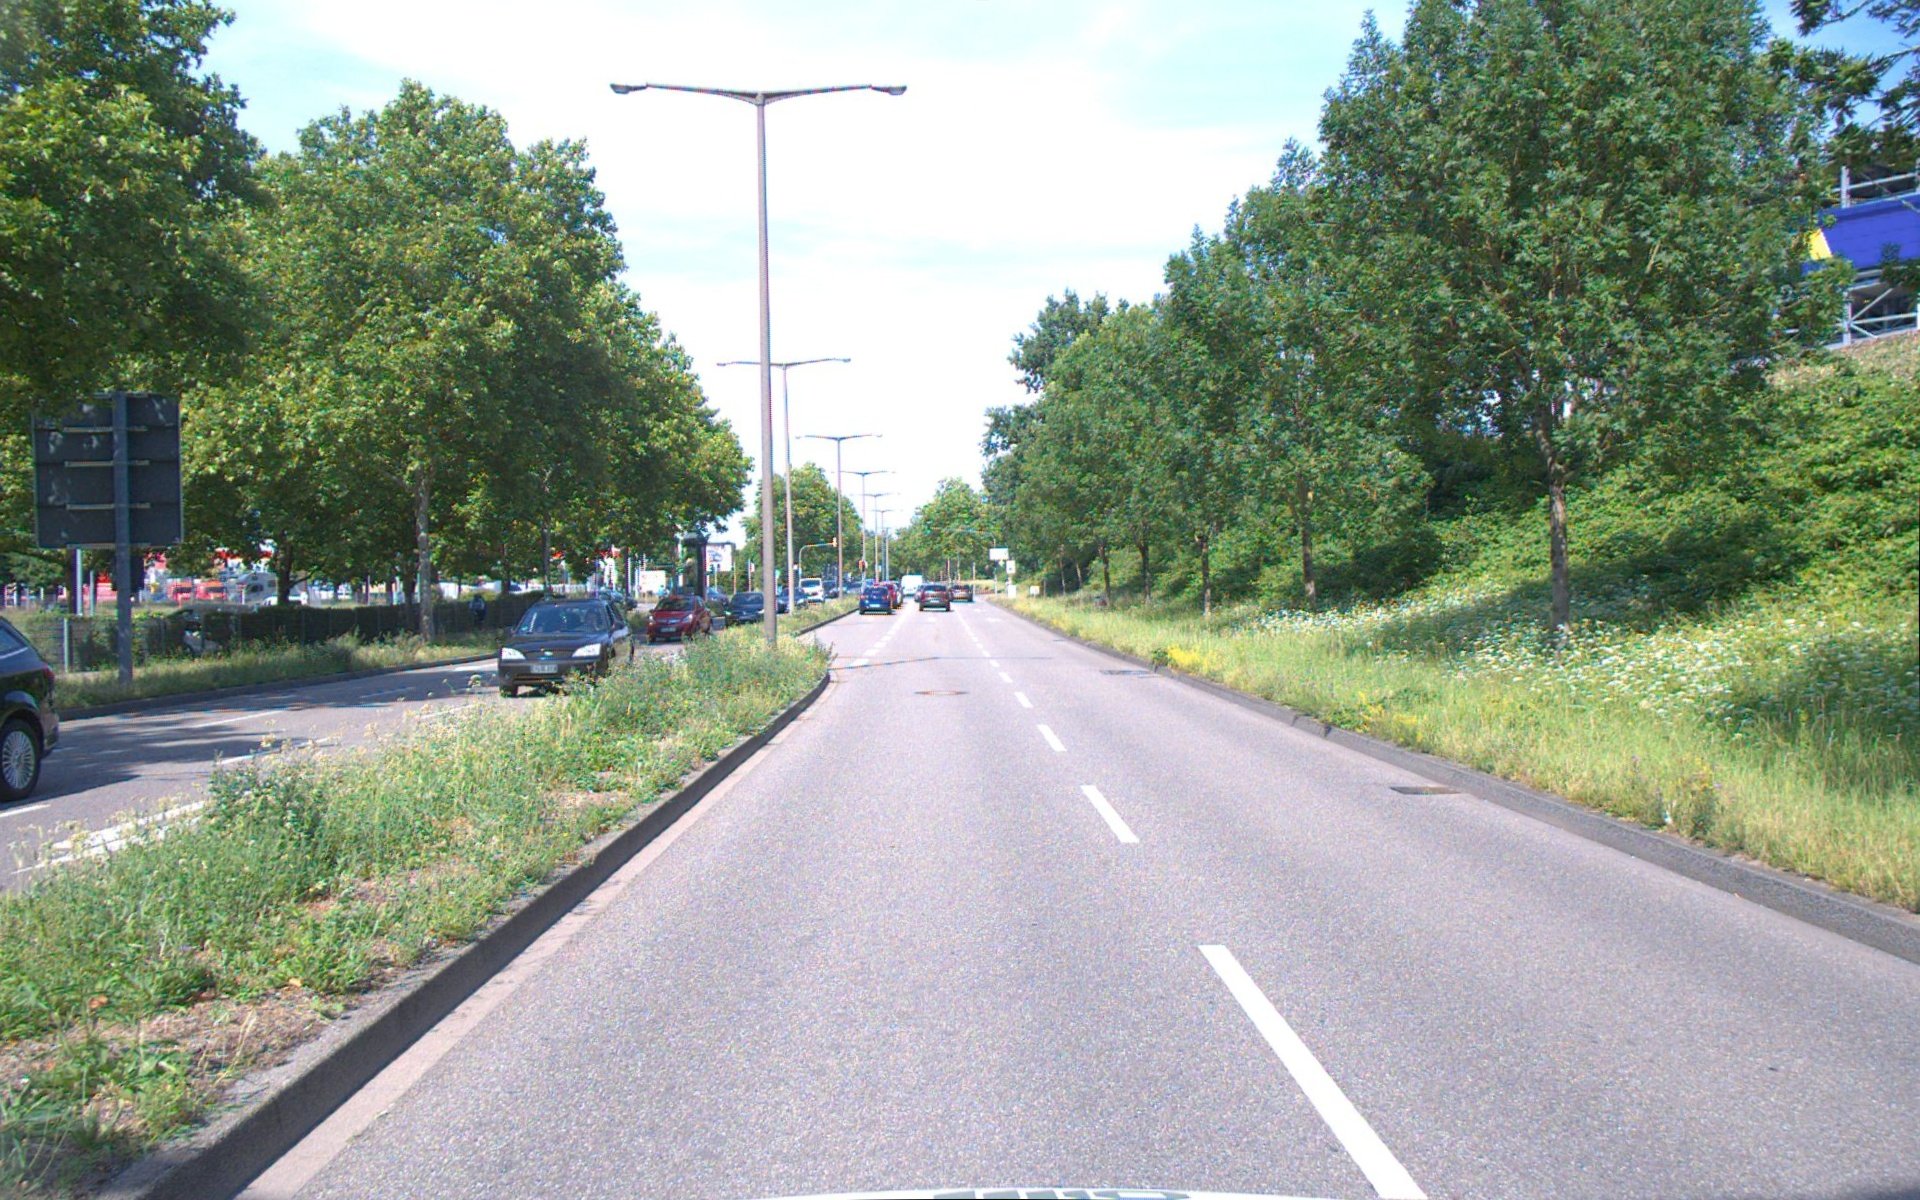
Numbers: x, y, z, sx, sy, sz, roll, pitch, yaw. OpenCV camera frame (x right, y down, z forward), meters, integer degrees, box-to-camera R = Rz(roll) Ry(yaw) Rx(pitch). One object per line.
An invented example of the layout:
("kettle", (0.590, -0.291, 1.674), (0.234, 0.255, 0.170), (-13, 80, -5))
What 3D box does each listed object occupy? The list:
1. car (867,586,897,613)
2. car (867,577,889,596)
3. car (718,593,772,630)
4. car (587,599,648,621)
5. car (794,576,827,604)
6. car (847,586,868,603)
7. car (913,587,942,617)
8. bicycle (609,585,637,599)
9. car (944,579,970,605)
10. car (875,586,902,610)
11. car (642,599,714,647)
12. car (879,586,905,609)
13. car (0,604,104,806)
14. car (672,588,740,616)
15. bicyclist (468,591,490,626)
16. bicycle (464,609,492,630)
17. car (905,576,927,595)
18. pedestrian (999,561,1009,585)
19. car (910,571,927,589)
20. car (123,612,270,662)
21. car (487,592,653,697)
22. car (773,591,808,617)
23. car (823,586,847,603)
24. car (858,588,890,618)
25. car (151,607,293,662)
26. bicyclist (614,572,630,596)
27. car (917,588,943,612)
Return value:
("car", (-4.848, -0.024, 102.980), (1.746, 1.620, 4.592), (0, 1, -2))
("car", (-8.448, -1.374, 170.669), (1.953, 1.892, 4.000), (-1, 0, 0))
("car", (-9.140, 0.474, 70.506), (1.802, 1.504, 4.165), (-1, 0, -1))
("car", (-23.939, 0.712, 115.594), (3.908, 1.412, 1.764), (-1, 2, 26))
("car", (-11.074, -0.754, 123.038), (2.074, 1.916, 5.417), (-2, 0, -2))
("car", (-10.974, -0.595, 177.351), (1.952, 1.806, 4.001), (-1, 0, 1))
("car", (-1.910, 0.095, 97.643), (1.701, 1.562, 4.001), (0, 3, -1))
("bicycle", (-25.476, -0.588, 125.142), (1.933, 1.000, 0.779), (-2, 3, -38))
("car", (-0.255, -0.666, 129.711), (1.977, 1.869, 4.001), (0, 3, -1))
("car", (-4.735, -0.137, 110.125), (1.730, 1.505, 4.134), (0, 1, -2))
("car", (-9.538, 0.761, 56.154), (1.727, 1.488, 4.000), (-2, 0, 0))
("car", (-5.068, -0.216, 122.935), (1.843, 1.646, 4.211), (0, 0, -2))
("car", (-8.012, 0.810, 11.398), (1.790, 1.493, 4.986), (-1, 0, -3))
("car", (-17.193, 0.128, 111.977), (4.301, 1.781, 1.866), (-1, 0, 29))
("bicyclist", (-21.324, 0.359, 73.324), (0.667, 1.511, 0.941), (-1, 0, -1))
("bicycle", (-21.313, 0.855, 73.185), (0.675, 0.881, 1.926), (-1, 0, -1))
("car", (-3.987, -1.309, 150.936), (1.953, 1.738, 4.263), (-1, 0, -1))
("pedestrian", (3.644, -2.263, 137.042), (0.821, 1.966, 0.771), (0, 2, -5))
("car", (-5.101, -2.445, 202.874), (1.954, 2.049, 3.996), (-1, 0, -5))
("car", (-24.739, 1.186, 53.675), (3.905, 1.490, 1.772), (-2, 0, -1))
("car", (-6.221, 0.646, 26.902), (1.737, 1.493, 4.669), (-2, 0, -3))
("car", (-10.026, 0.232, 98.244), (1.732, 1.494, 4.282), (-2, 0, -2))
("car", (-11.952, -0.576, 158.036), (1.953, 1.557, 4.681), (-2, 0, -1))
("car", (-4.548, 0.155, 87.872), (1.593, 1.509, 4.047), (1, 1, -2))
("car", (-25.335, 1.164, 56.869), (3.904, 1.855, 2.157), (0, 0, 3))
("bicyclist", (-25.542, -1.237, 125.062), (0.890, 1.745, 0.772), (-2, 3, -37))
("car", (-2.335, -0.025, 128.417), (1.953, 1.774, 4.264), (-1, 0, -1))
